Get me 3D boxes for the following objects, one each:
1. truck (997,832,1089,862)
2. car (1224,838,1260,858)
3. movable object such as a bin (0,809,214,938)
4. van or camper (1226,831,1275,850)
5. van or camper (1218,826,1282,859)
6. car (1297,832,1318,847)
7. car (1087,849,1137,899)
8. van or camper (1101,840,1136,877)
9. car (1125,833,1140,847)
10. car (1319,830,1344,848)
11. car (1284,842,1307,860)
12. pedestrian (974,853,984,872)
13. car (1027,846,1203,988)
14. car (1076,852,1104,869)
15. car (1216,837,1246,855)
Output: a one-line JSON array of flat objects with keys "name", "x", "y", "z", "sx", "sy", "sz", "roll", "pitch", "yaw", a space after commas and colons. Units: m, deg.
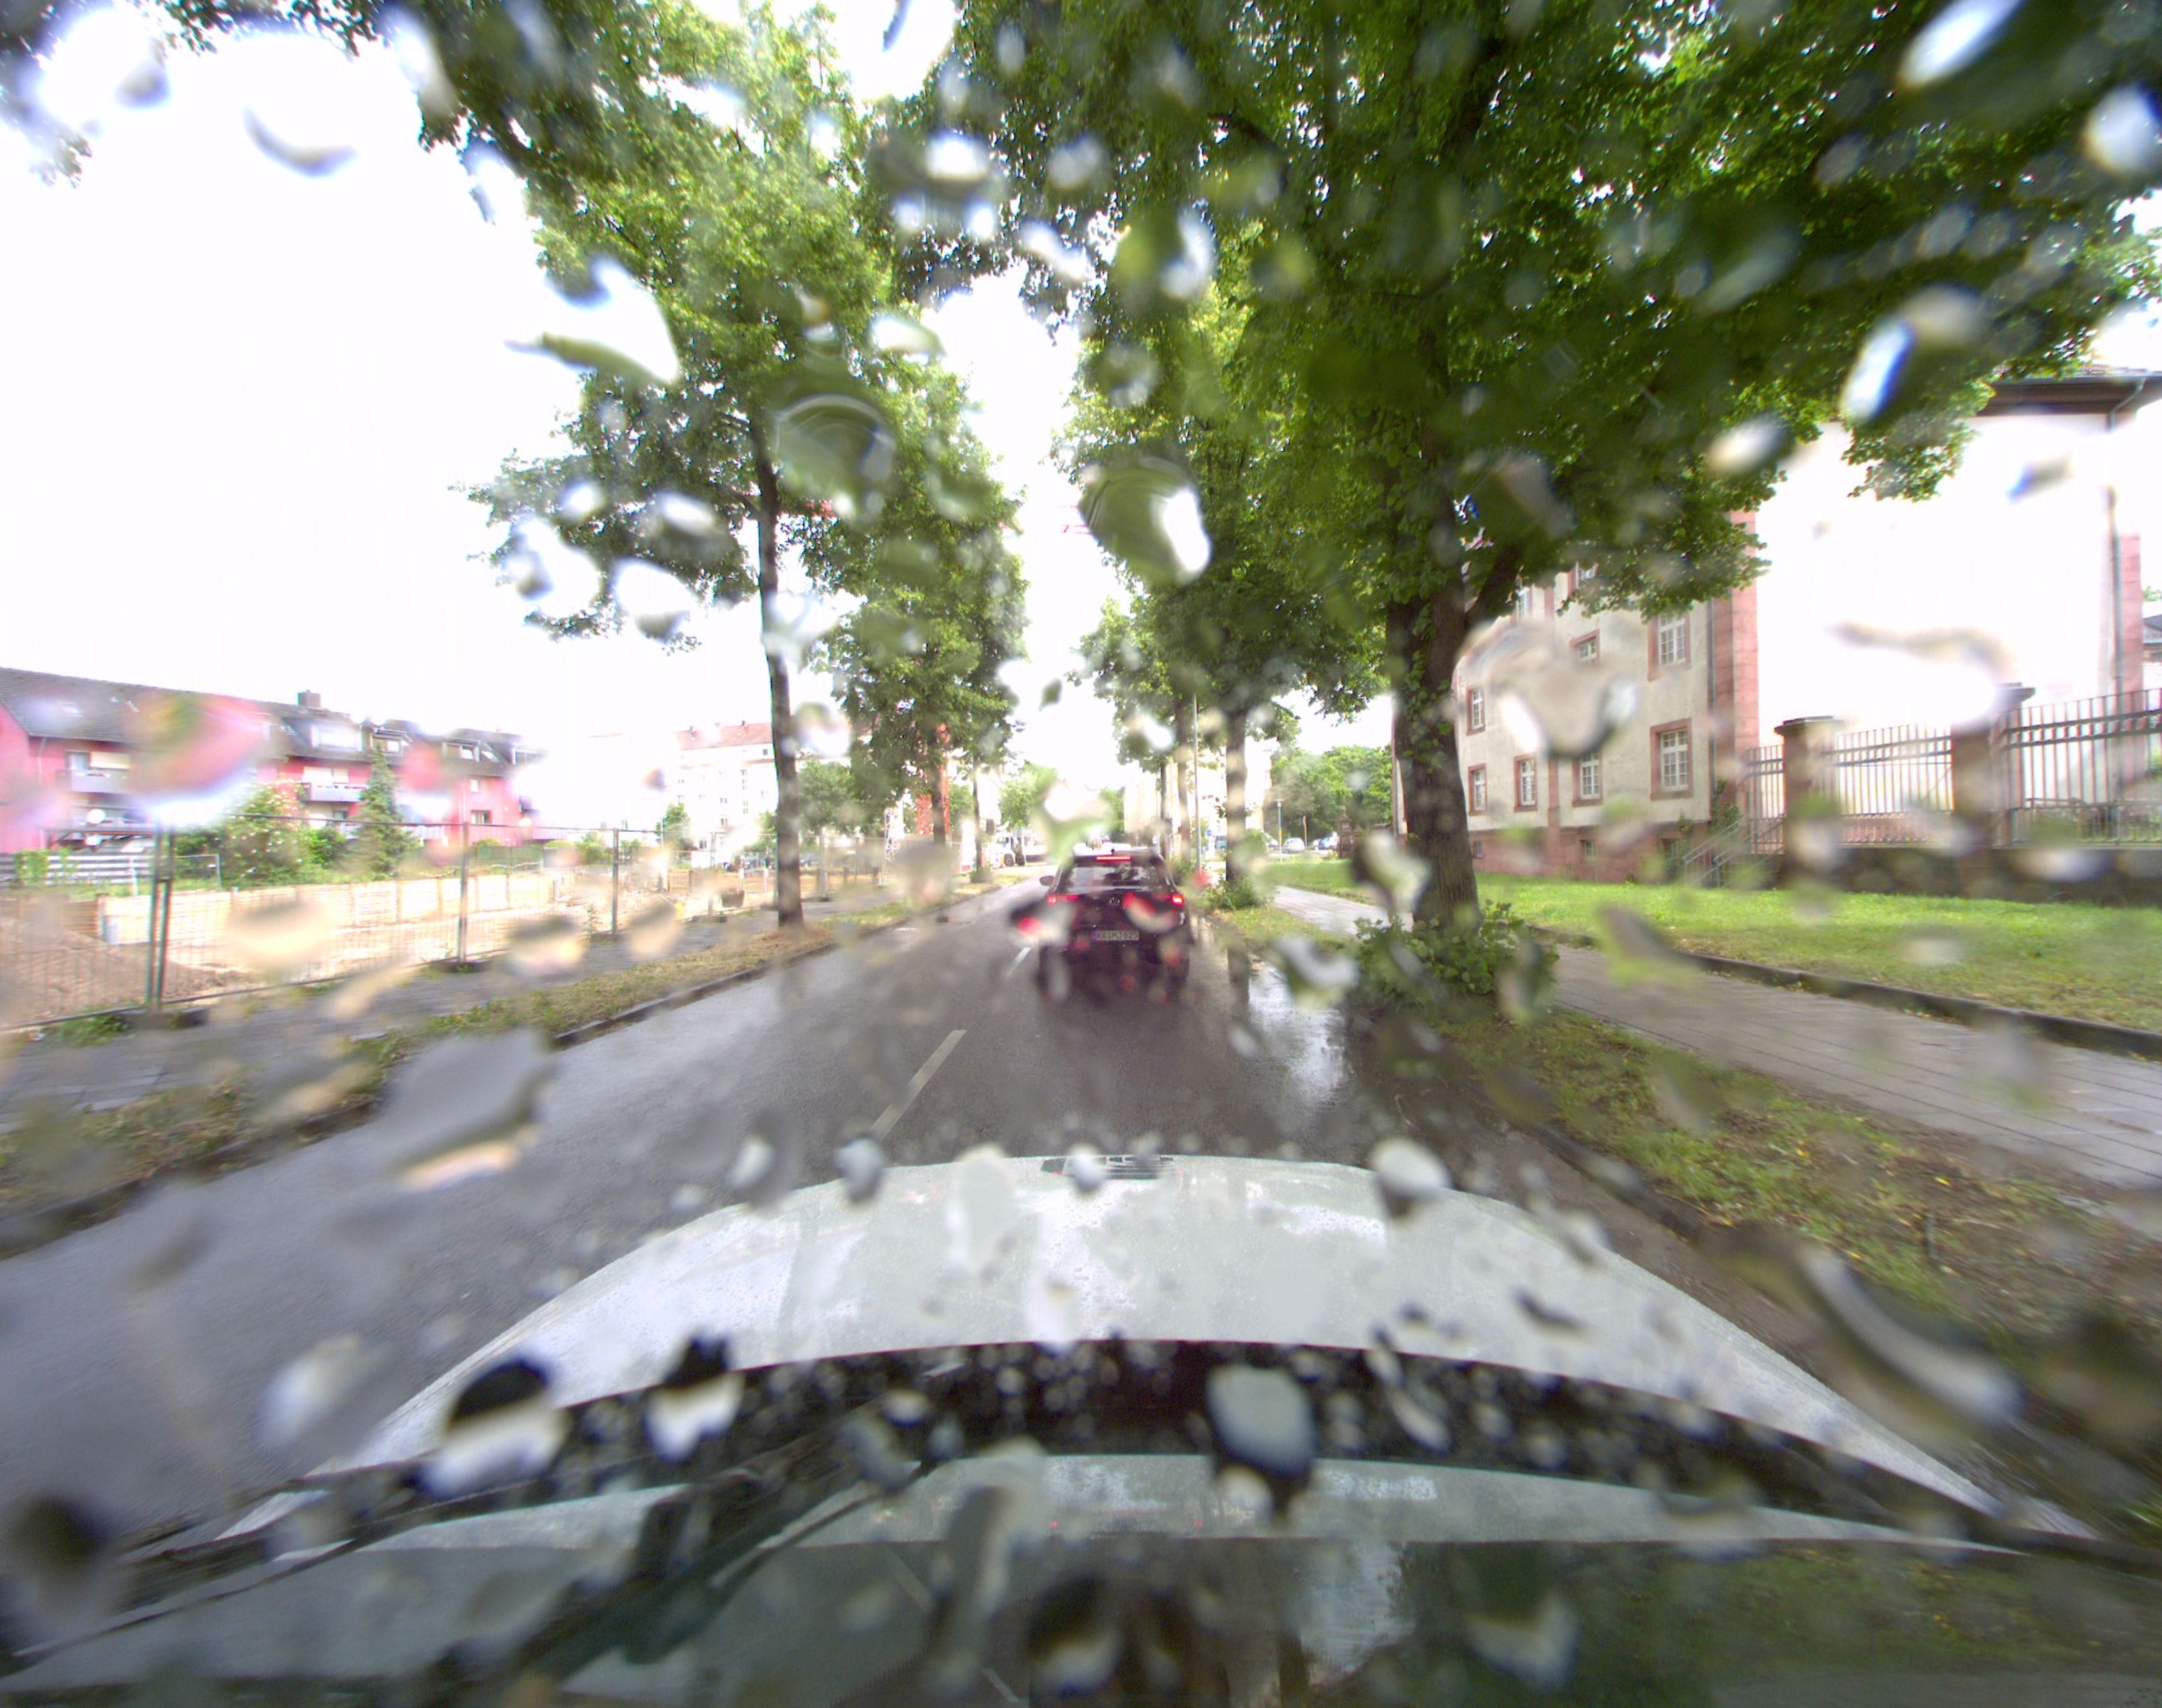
[{"name": "truck", "x": -3.550, "y": -0.635, "z": 75.464, "sx": 8.135, "sy": 2.656, "sz": 2.832, "roll": 0, "pitch": 1, "yaw": 29}, {"name": "car", "x": 16.164, "y": -0.626, "z": 81.638, "sx": 3.388, "sy": 1.781, "sz": 1.764, "roll": -3, "pitch": 0, "yaw": 8}, {"name": "movable object such as a bin", "x": -54.105, "y": 0.962, "z": 38.259, "sx": 6.806, "sy": 6.043, "sz": 16.846, "roll": 0, "pitch": 1, "yaw": 26}, {"name": "van or camper", "x": 18.095, "y": -1.416, "z": 87.033, "sx": 4.855, "sy": 1.925, "sz": 2.133, "roll": -1, "pitch": 1, "yaw": 2}, {"name": "van or camper", "x": 14.403, "y": -0.991, "z": 69.651, "sx": 5.015, "sy": 2.595, "sz": 2.168, "roll": -2, "pitch": 0, "yaw": 0}, {"name": "car", "x": 28.929, "y": -1.842, "z": 104.088, "sx": 1.858, "sy": 1.857, "sz": 3.816, "roll": -4, "pitch": 0, "yaw": 6}, {"name": "car", "x": 1.268, "y": 0.730, "z": 31.758, "sx": 1.672, "sy": 1.708, "sz": 3.915, "roll": -4, "pitch": 0, "yaw": 5}, {"name": "van or camper", "x": 2.118, "y": 0.206, "z": 44.808, "sx": 1.812, "sy": 1.947, "sz": 4.199, "roll": -1, "pitch": 1, "yaw": 3}, {"name": "car", "x": 7.291, "y": -1.988, "z": 115.604, "sx": 1.986, "sy": 2.013, "sz": 4.002, "roll": 0, "pitch": 0, "yaw": 2}, {"name": "car", "x": 30.208, "y": -1.796, "z": 98.302, "sx": 1.984, "sy": 2.013, "sz": 4.007, "roll": -4, "pitch": 0, "yaw": 6}, {"name": "car", "x": 21.755, "y": -0.359, "z": 82.787, "sx": 1.733, "sy": 1.684, "sz": 3.879, "roll": -4, "pitch": 0, "yaw": 8}, {"name": "pedestrian", "x": -8.238, "y": 0.690, "z": 65.787, "sx": 0.663, "sy": 1.485, "sz": 0.668, "roll": -1, "pitch": 1, "yaw": -23}, {"name": "car", "x": 0.430, "y": 0.666, "z": 10.856, "sx": 1.887, "sy": 1.522, "sz": 4.002, "roll": -1, "pitch": 0, "yaw": 2}, {"name": "car", "x": 1.035, "y": 0.728, "z": 94.052, "sx": 1.738, "sy": 1.651, "sz": 3.958, "roll": -4, "pitch": 0, "yaw": 23}, {"name": "car", "x": 17.798, "y": -0.957, "z": 96.811, "sx": 3.385, "sy": 1.781, "sz": 1.765, "roll": -4, "pitch": 0, "yaw": 10}]
